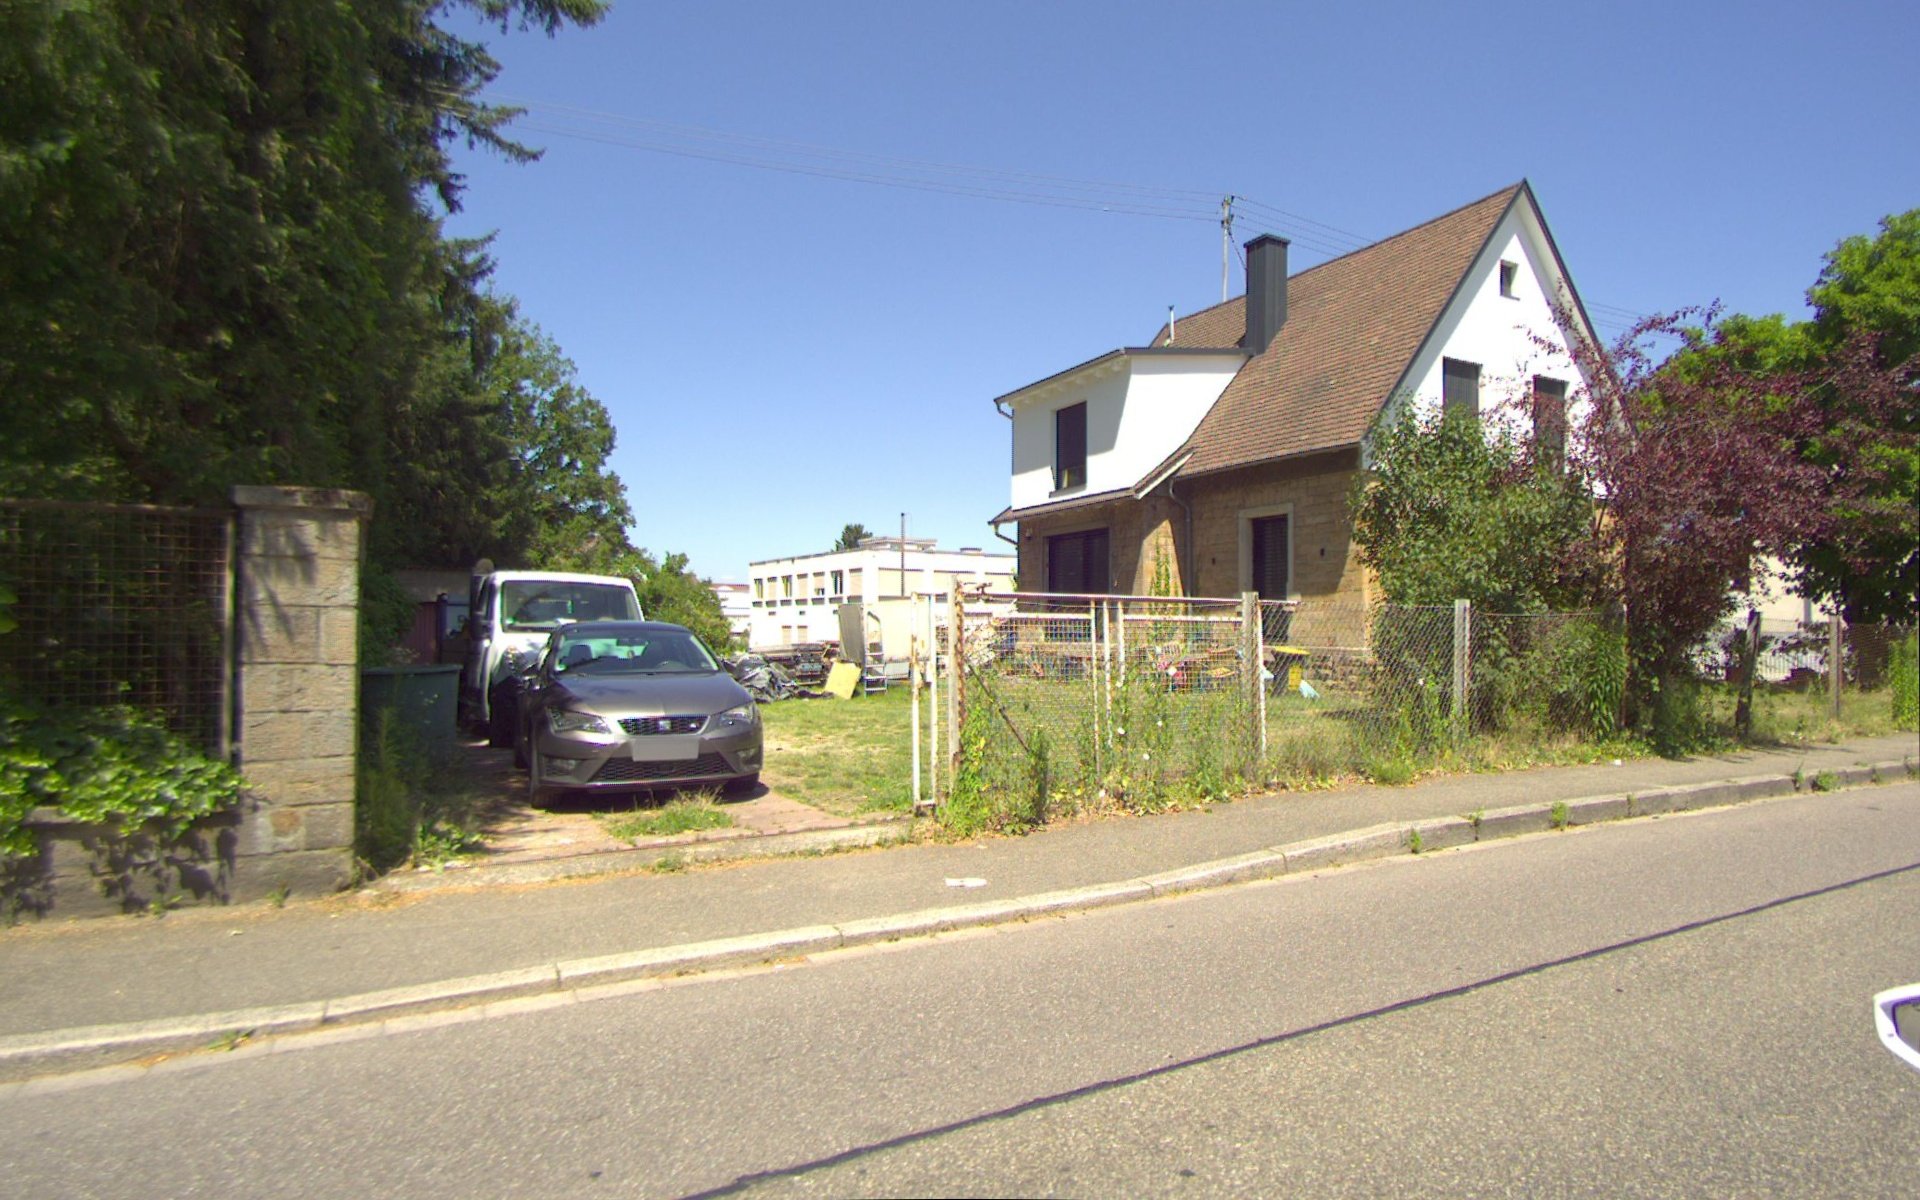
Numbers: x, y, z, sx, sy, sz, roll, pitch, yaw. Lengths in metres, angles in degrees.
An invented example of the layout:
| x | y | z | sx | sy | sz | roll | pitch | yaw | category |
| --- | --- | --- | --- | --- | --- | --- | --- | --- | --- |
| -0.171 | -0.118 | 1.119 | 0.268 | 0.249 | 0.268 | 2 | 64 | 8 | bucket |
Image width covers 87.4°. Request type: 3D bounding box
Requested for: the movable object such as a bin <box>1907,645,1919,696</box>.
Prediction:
| x | y | z | sx | sy | sz | roll | pitch | yaw | category |
| --- | --- | --- | --- | --- | --- | --- | --- | --- | --- |
| 19.570 | 1.426 | 20.315 | 0.499 | 1.023 | 0.465 | 1 | 0 | -28 | movable object such as a bin |

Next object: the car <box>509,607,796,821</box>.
| x | y | z | sx | sy | sz | roll | pitch | yaw | category |
| --- | --- | --- | --- | --- | --- | --- | --- | --- | --- |
| -2.959 | 0.882 | 9.042 | 1.942 | 1.443 | 3.976 | 1 | -3 | -25 | car |

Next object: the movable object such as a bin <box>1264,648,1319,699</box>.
| x | y | z | sx | sy | sz | roll | pitch | yaw | category |
| --- | --- | --- | --- | --- | --- | --- | --- | --- | --- |
| 5.835 | 1.289 | 17.669 | 0.714 | 0.839 | 0.564 | 2 | 0 | -25 | movable object such as a bin |

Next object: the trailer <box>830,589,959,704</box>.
| x | y | z | sx | sy | sz | roll | pitch | yaw | category |
| --- | --- | --- | --- | --- | --- | --- | --- | --- | --- |
| -1.485 | 0.939 | 21.389 | 1.795 | 2.200 | 3.869 | 1 | -1 | -19 | trailer |

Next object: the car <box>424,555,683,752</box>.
| x | y | z | sx | sy | sz | roll | pitch | yaw | category |
| --- | --- | --- | --- | --- | --- | --- | --- | --- | --- |
| -6.217 | 0.774 | 14.686 | 2.376 | 2.200 | 6.625 | 1 | -3 | -32 | car |

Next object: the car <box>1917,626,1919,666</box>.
| x | y | z | sx | sy | sz | roll | pitch | yaw | category |
| --- | --- | --- | --- | --- | --- | --- | --- | --- | --- |
| 38.687 | 1.829 | 37.506 | 1.780 | 1.530 | 3.965 | 2 | 0 | -32 | car |
